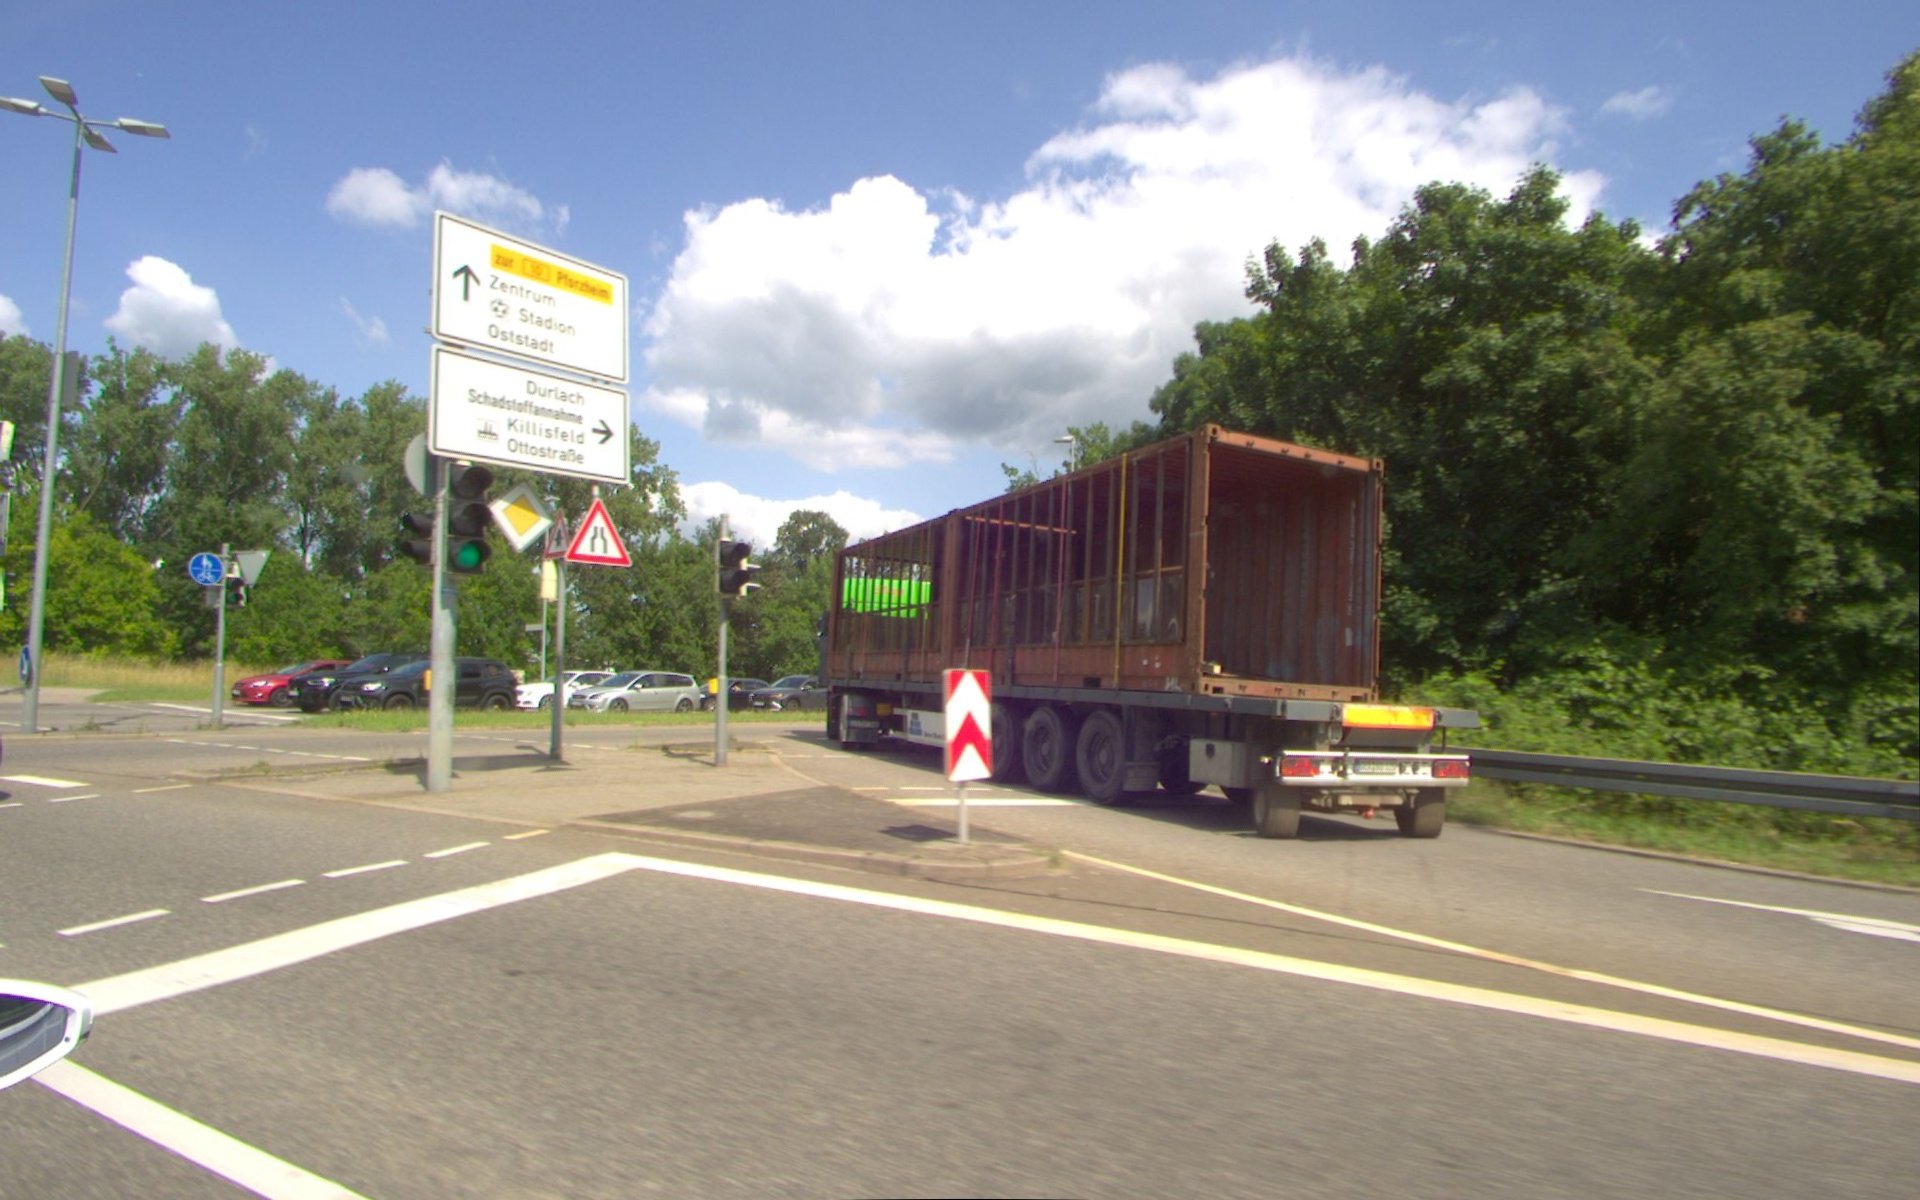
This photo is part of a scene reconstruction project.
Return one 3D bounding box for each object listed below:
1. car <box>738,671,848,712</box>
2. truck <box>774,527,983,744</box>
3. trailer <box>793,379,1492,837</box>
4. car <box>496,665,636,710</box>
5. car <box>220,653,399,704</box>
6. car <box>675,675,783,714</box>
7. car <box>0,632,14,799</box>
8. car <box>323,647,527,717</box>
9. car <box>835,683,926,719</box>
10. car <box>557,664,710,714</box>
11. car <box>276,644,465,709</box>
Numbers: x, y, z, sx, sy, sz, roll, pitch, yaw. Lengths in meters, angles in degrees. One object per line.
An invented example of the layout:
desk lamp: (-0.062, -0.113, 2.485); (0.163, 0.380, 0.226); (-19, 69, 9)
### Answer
car: (-6.248, 3.491, 37.912); (1.854, 1.392, 4.033); (0, -5, 33)
truck: (-1.987, 0.949, 21.804); (2.831, 3.948, 5.868); (4, -6, -21)
trailer: (0.915, 0.614, 15.316); (2.609, 3.935, 13.800); (5, -6, -27)
car: (-13.170, 2.972, 33.746); (1.623, 1.392, 4.199); (0, -5, 33)
car: (-19.733, 2.425, 30.575); (1.734, 1.392, 4.199); (0, -5, 33)
car: (-9.161, 3.785, 39.976); (1.677, 1.392, 4.199); (0, -5, 33)
car: (-10.676, 1.024, 9.182); (3.810, 1.497, 1.643); (-1, -3, 26)
car: (-13.735, 2.163, 25.977); (1.819, 1.635, 4.277); (-2, -6, 33)
car: (-3.397, 4.402, 43.602); (1.854, 1.392, 4.033); (0, -5, 33)
car: (-10.133, 2.808, 31.399); (1.623, 1.392, 4.524); (0, -5, 33)
car: (-16.629, 2.207, 28.437); (1.812, 1.665, 4.199); (0, -5, 33)
